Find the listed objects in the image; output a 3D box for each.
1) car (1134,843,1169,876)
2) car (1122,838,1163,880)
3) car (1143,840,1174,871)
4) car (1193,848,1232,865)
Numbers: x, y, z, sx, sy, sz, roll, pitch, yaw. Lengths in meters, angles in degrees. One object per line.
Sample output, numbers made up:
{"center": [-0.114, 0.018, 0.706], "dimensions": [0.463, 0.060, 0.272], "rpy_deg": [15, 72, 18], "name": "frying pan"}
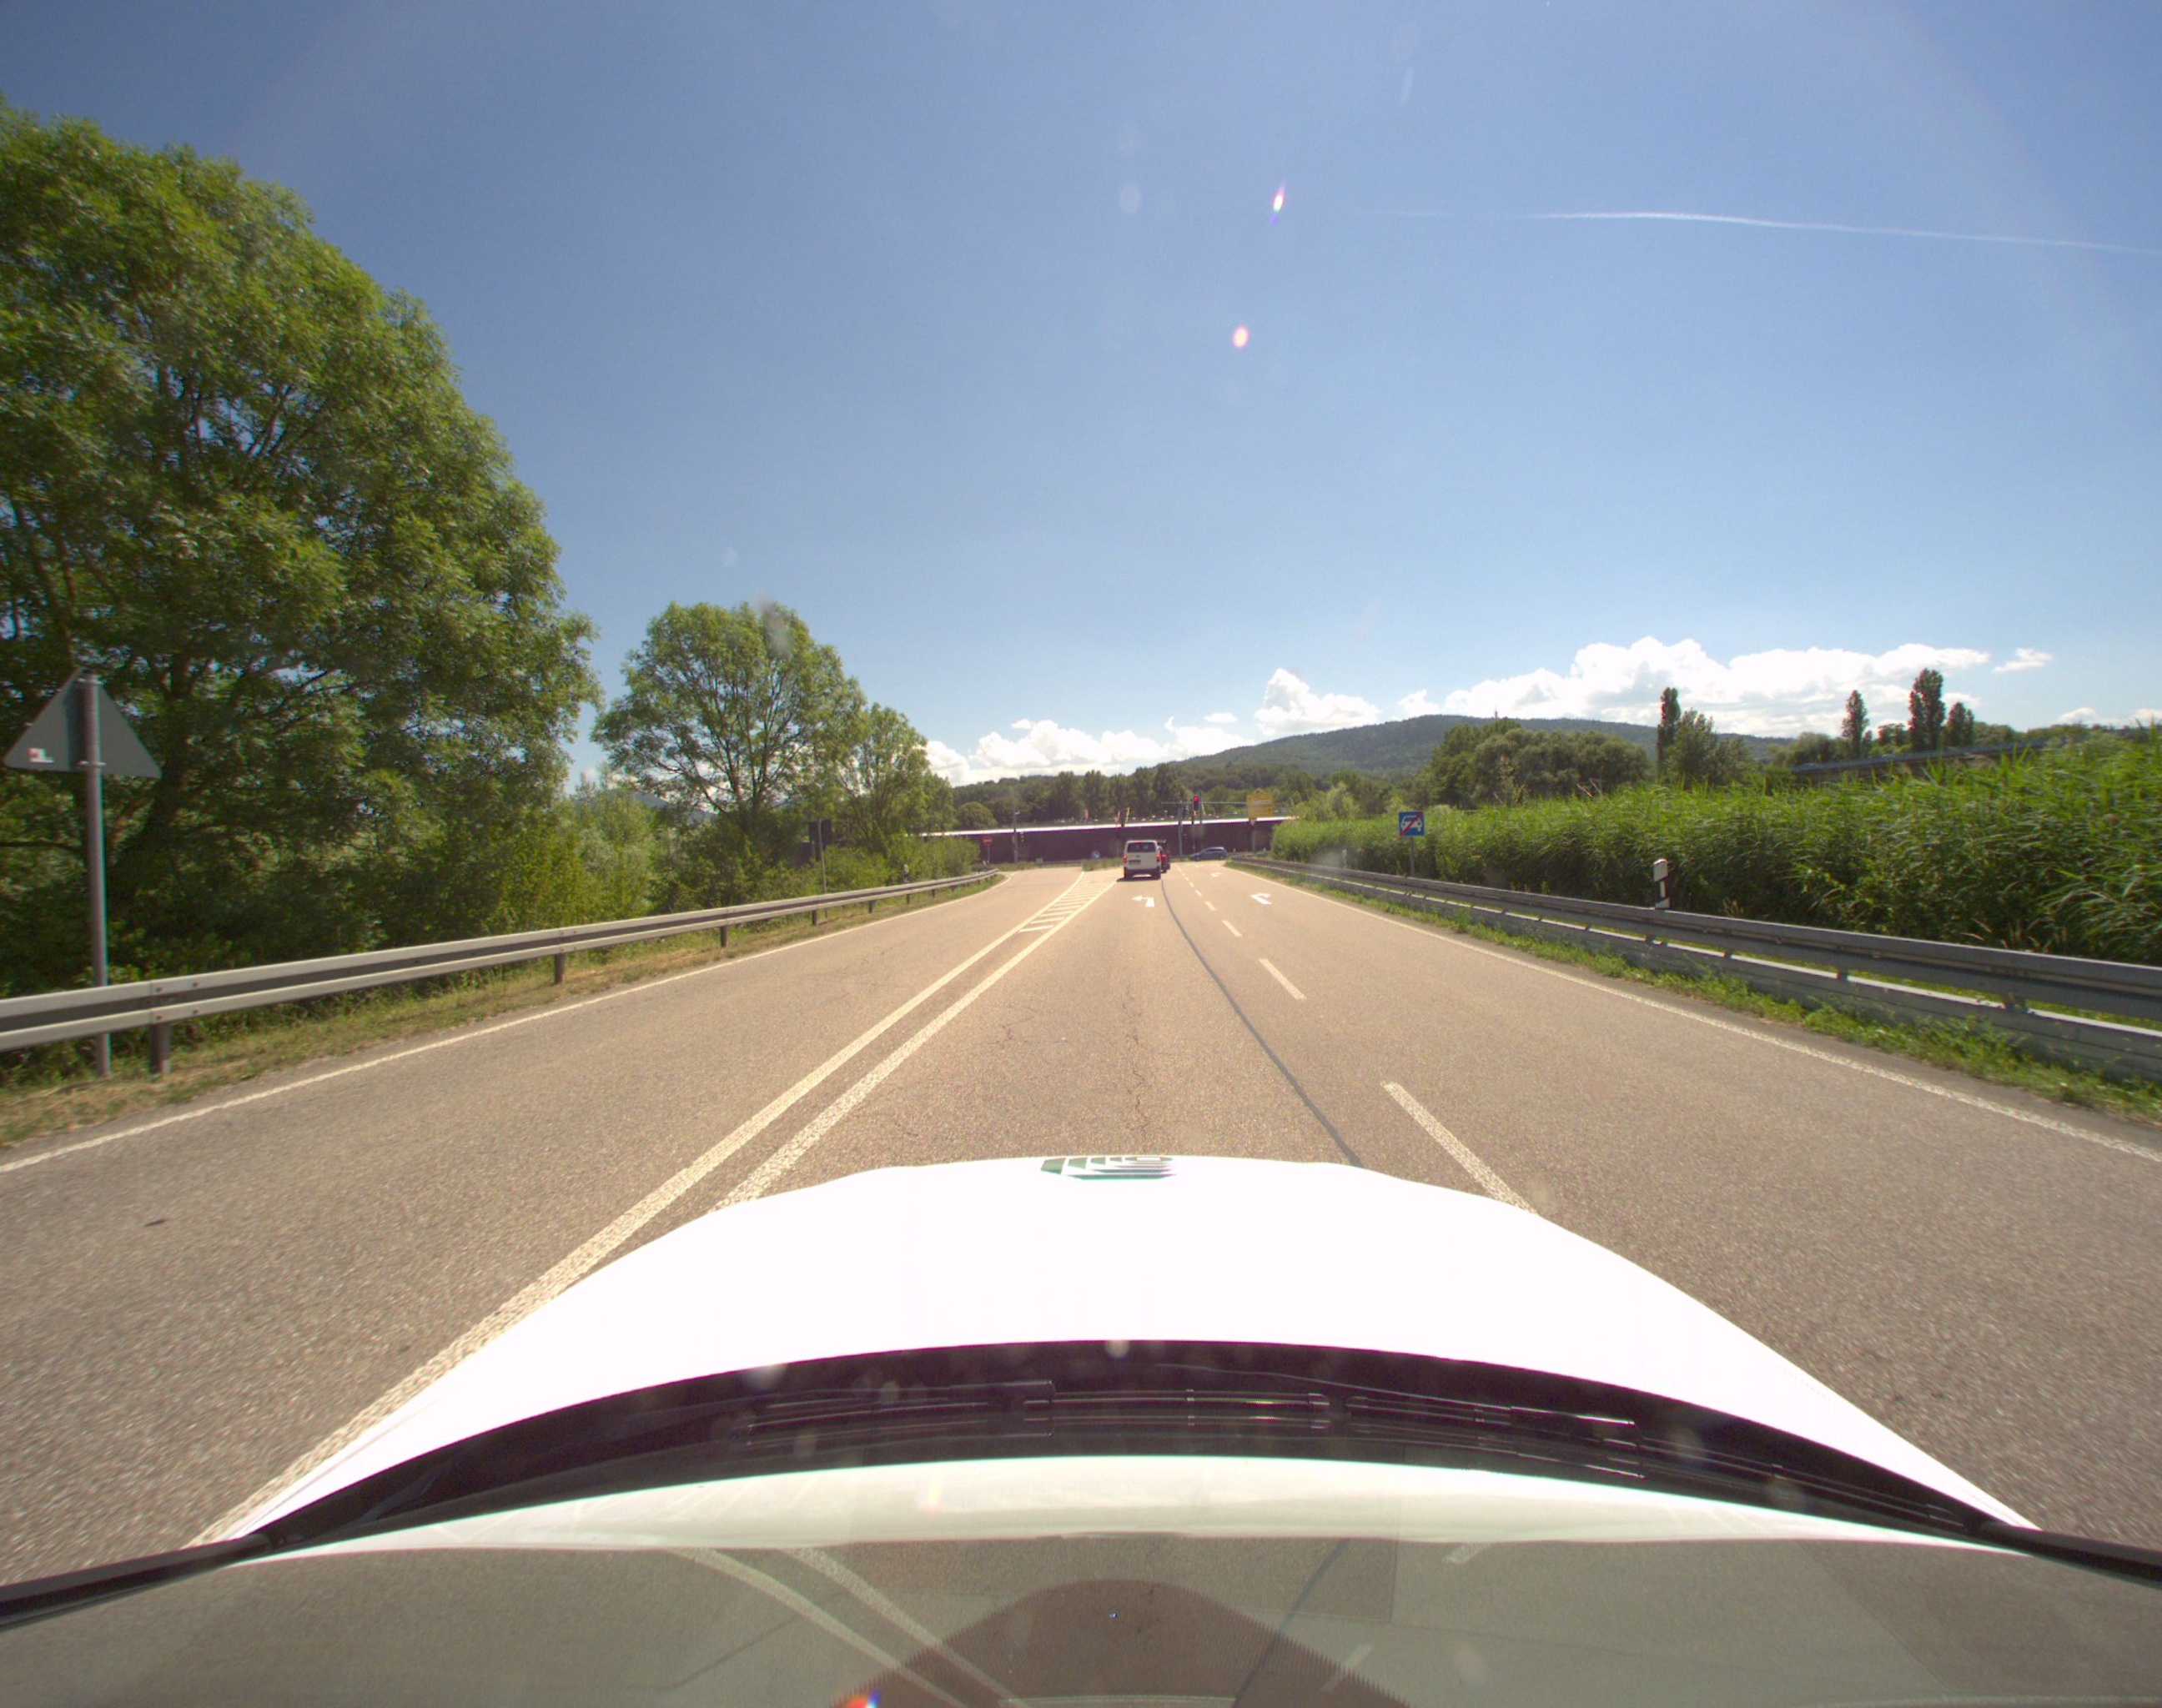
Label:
{"center": [4.390, 0.319, 50.341], "dimensions": [1.984, 1.812, 4.006], "rpy_deg": [-4, 0, 6], "name": "car"}
{"center": [3.136, 0.225, 41.009], "dimensions": [1.861, 1.964, 4.006], "rpy_deg": [-2, 0, 5], "name": "car"}
{"center": [5.439, 0.086, 57.257], "dimensions": [1.984, 2.013, 4.006], "rpy_deg": [-4, 0, 6], "name": "car"}
{"center": [14.452, 0.291, 89.555], "dimensions": [3.969, 1.769, 2.002], "rpy_deg": [-2, 0, 4], "name": "car"}
